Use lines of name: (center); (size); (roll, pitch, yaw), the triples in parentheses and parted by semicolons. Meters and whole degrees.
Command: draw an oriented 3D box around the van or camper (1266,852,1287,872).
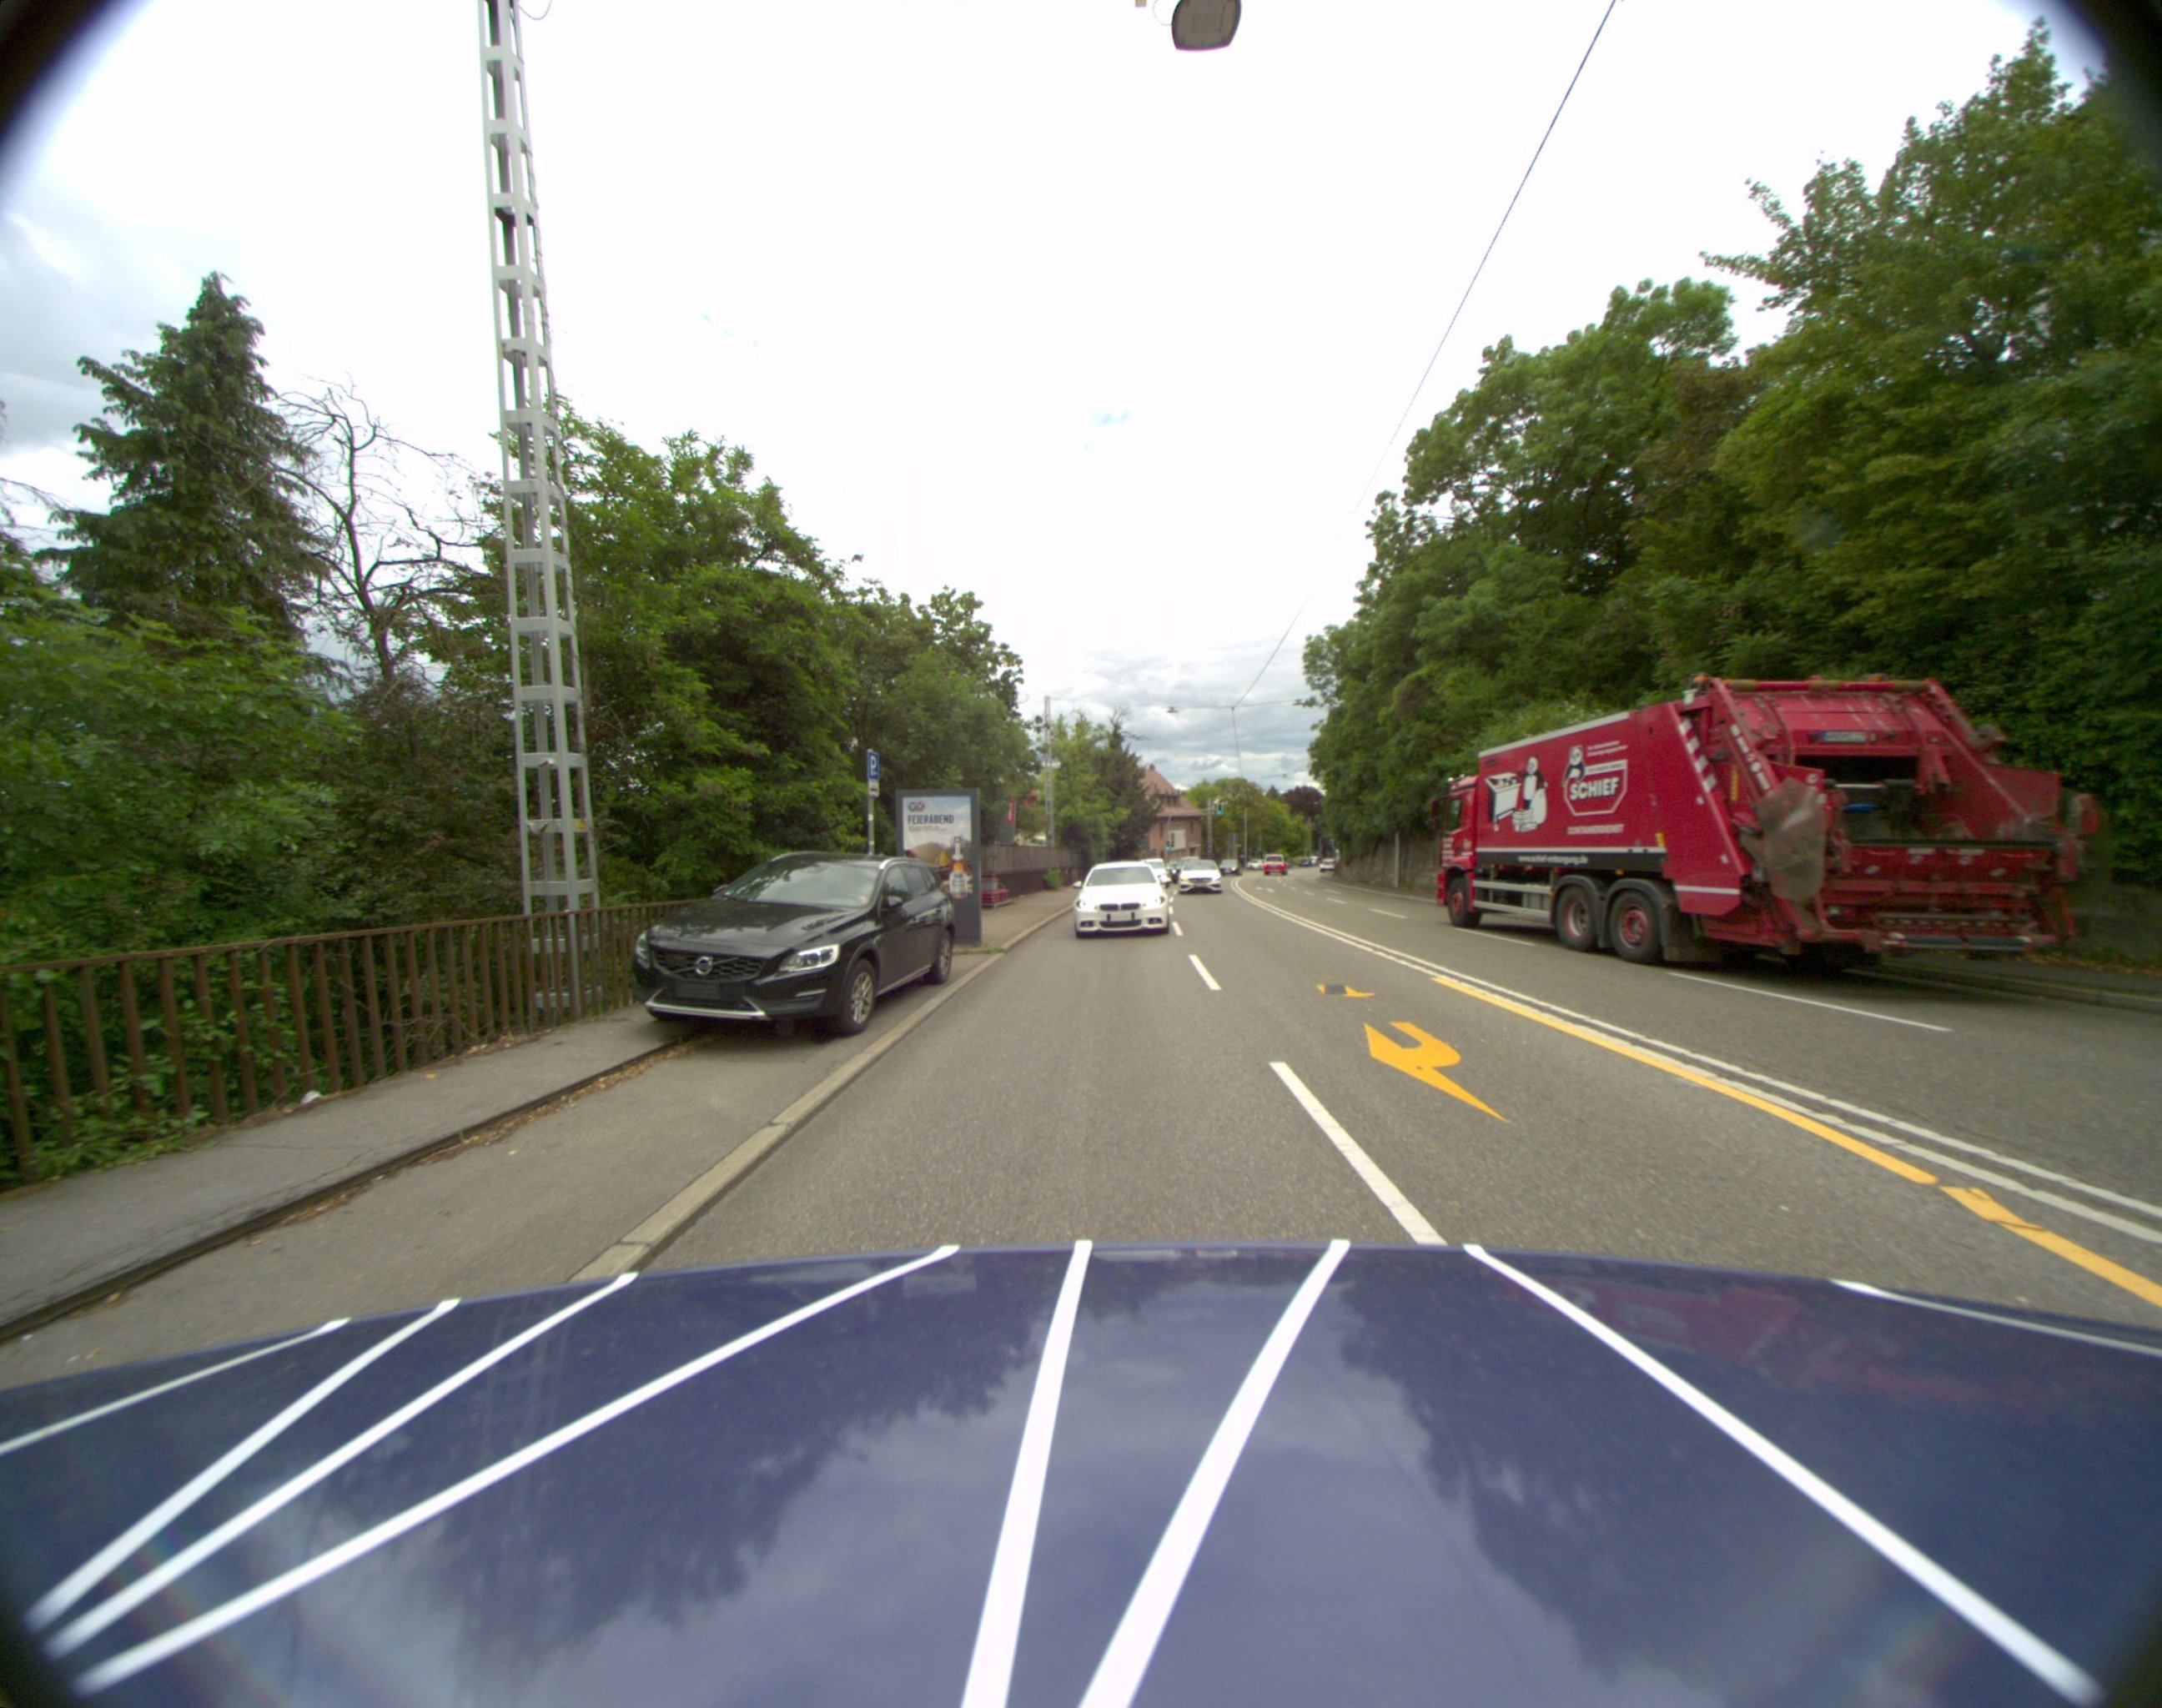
van or camper: (18.683, 0.734, 72.760); (1.892, 1.867, 4.770); (1, 0, 14)

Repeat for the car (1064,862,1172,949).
car: (0.850, 0.934, 15.738); (1.822, 1.462, 4.786); (-3, -1, 5)

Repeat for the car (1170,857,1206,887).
car: (6.463, 1.044, 45.509); (1.956, 1.730, 4.003); (0, 0, 10)

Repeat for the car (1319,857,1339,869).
car: (29.671, 1.067, 90.997); (1.783, 1.458, 4.108); (2, 1, 24)

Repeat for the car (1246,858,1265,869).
car: (25.070, 1.328, 108.945); (1.676, 1.453, 4.373); (2, 1, 26)

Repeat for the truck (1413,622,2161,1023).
truck: (8.672, -0.293, 12.005); (2.952, 3.676, 9.921); (1, 0, 3)

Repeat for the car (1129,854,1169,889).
car: (3.683, 0.879, 40.654); (1.957, 1.761, 4.003); (0, 0, 8)

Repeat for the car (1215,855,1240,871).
car: (12.795, 0.767, 66.055); (1.833, 1.369, 4.005); (0, 0, 15)

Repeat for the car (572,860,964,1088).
car: (-2.618, 0.874, 7.677); (1.769, 1.513, 4.395); (3, 0, 5)

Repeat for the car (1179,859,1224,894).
car: (5.265, 0.934, 32.962); (1.801, 1.382, 3.530); (-2, -1, 10)

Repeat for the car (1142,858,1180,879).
car: (5.893, 1.023, 55.617); (1.996, 1.396, 4.005); (-1, 0, 17)
